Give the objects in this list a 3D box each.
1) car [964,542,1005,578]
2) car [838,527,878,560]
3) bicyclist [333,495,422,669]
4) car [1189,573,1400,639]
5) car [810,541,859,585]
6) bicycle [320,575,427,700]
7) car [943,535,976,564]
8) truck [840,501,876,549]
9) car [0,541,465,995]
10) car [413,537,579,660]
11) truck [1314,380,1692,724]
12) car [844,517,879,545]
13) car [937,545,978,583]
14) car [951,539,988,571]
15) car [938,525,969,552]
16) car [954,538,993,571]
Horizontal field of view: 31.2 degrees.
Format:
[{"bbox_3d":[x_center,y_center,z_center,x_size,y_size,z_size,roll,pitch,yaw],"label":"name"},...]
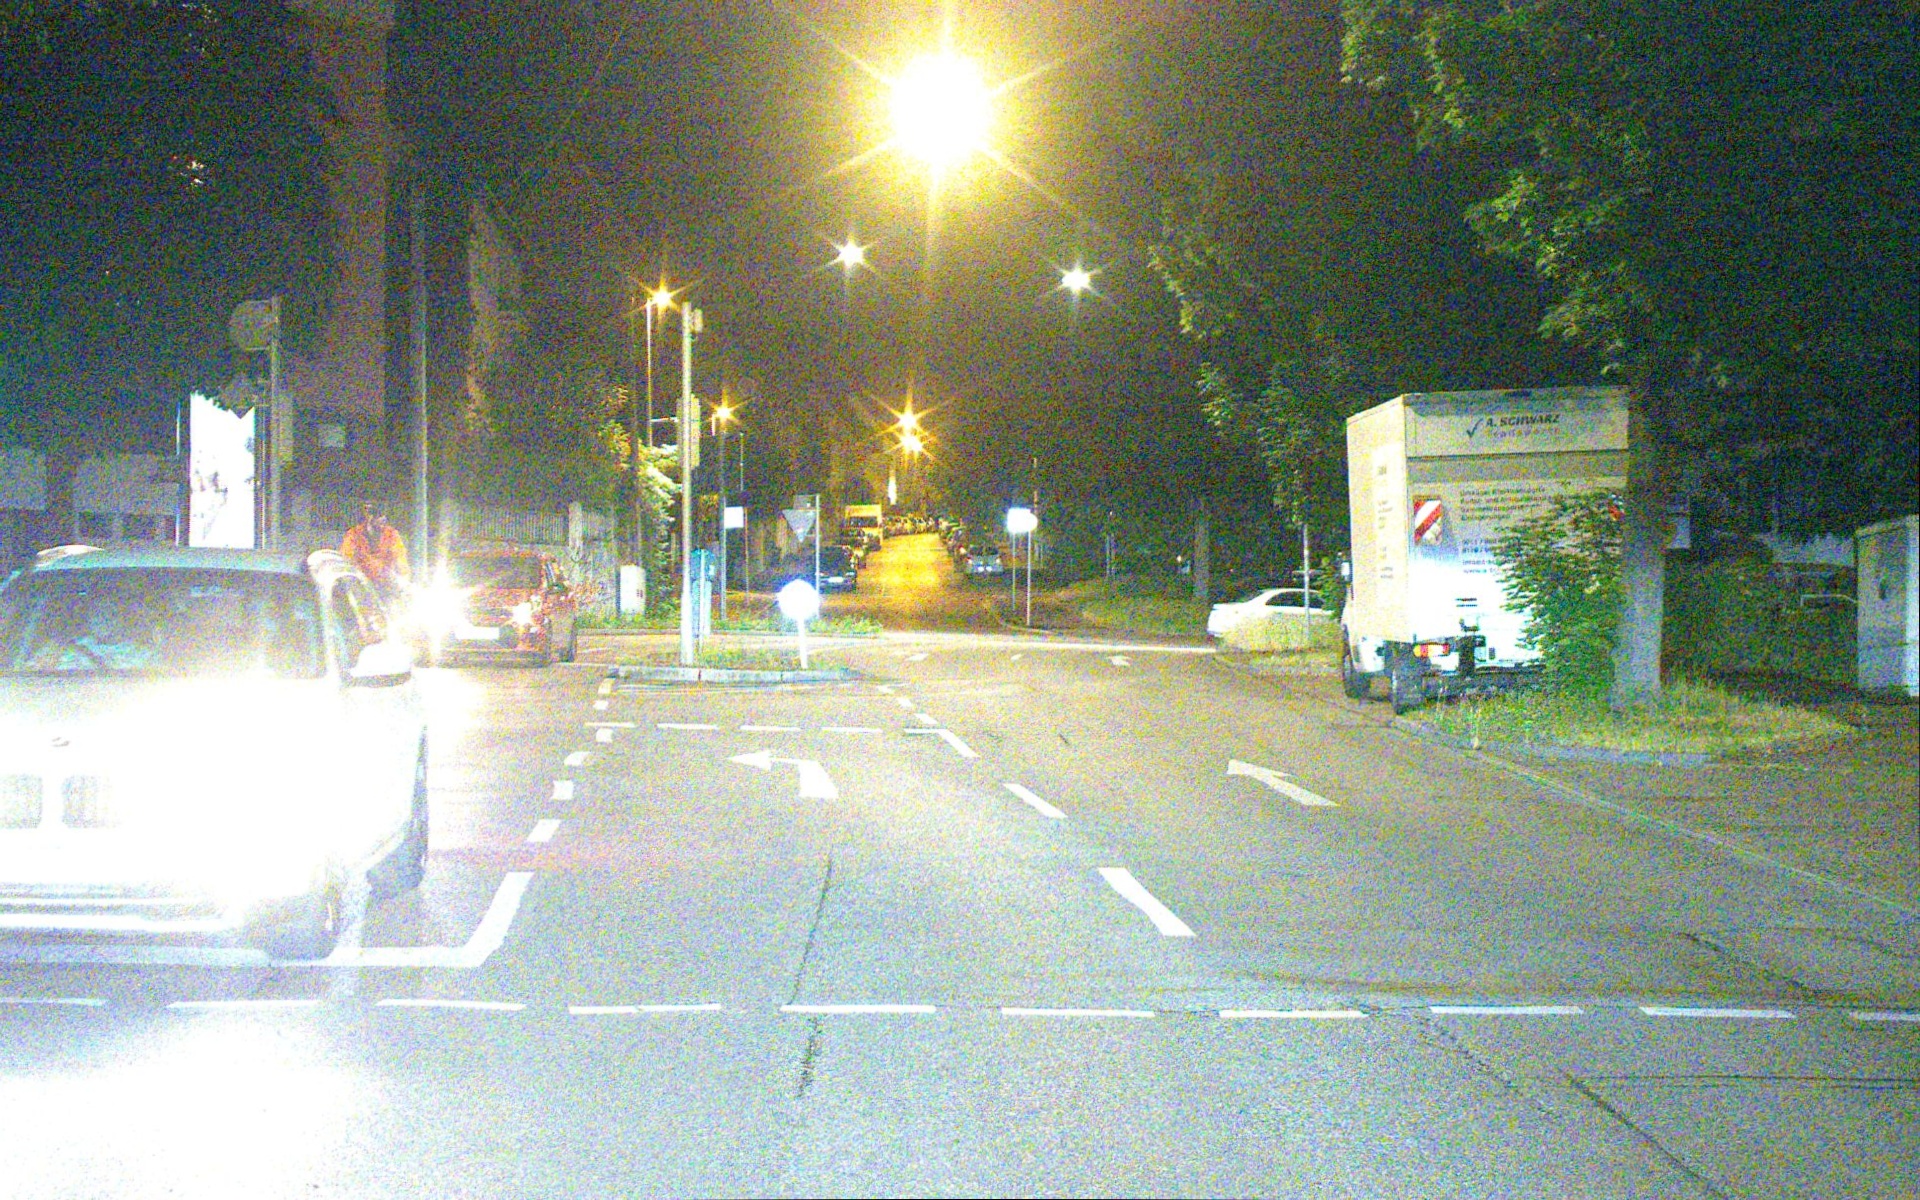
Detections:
[{"bbox_3d":[1.025,-1.683,143.357,1.634,1.447,3.485,1,1,-1],"label":"car"},{"bbox_3d":[-4.795,-2.622,160.564,1.815,1.486,4.000,1,1,-2],"label":"car"},{"bbox_3d":[-5.557,-0.171,32.826,0.690,1.631,0.896,1,0,-1],"label":"bicyclist"},{"bbox_3d":[7.545,0.122,77.762,4.567,1.384,1.923,1,1,0],"label":"car"},{"bbox_3d":[-4.901,-1.466,134.443,1.815,1.678,4.000,1,1,-1],"label":"car"},{"bbox_3d":[-5.550,0.338,32.638,0.696,1.145,1.951,1,0,-1],"label":"bicycle"},{"bbox_3d":[-0.023,-2.629,178.512,1.634,1.447,3.485,1,1,-1],"label":"car"},{"bbox_3d":[-6.221,-4.552,209.575,2.086,2.838,5.832,1,1,-2],"label":"truck"},{"bbox_3d":[-3.159,0.543,13.771,1.857,1.529,4.028,1,1,-2],"label":"car"},{"bbox_3d":[-5.869,-0.050,43.811,1.581,1.496,3.396,1,1,1],"label":"car"},{"bbox_3d":[5.284,-0.486,34.553,2.749,3.100,6.258,1,1,0],"label":"truck"},{"bbox_3d":[-5.375,-3.744,186.945,1.815,1.486,4.000,1,1,-2],"label":"car"},{"bbox_3d":[-0.117,-1.438,137.825,1.593,1.471,3.654,1,1,-1],"label":"car"},{"bbox_3d":[0.448,-2.092,159.275,1.634,1.447,3.485,1,1,-1],"label":"car"},{"bbox_3d":[-0.375,-3.403,191.476,1.634,1.447,3.485,1,1,-1],"label":"car"},{"bbox_3d":[0.585,-2.041,153.090,1.634,1.447,3.485,1,1,-1],"label":"car"}]
